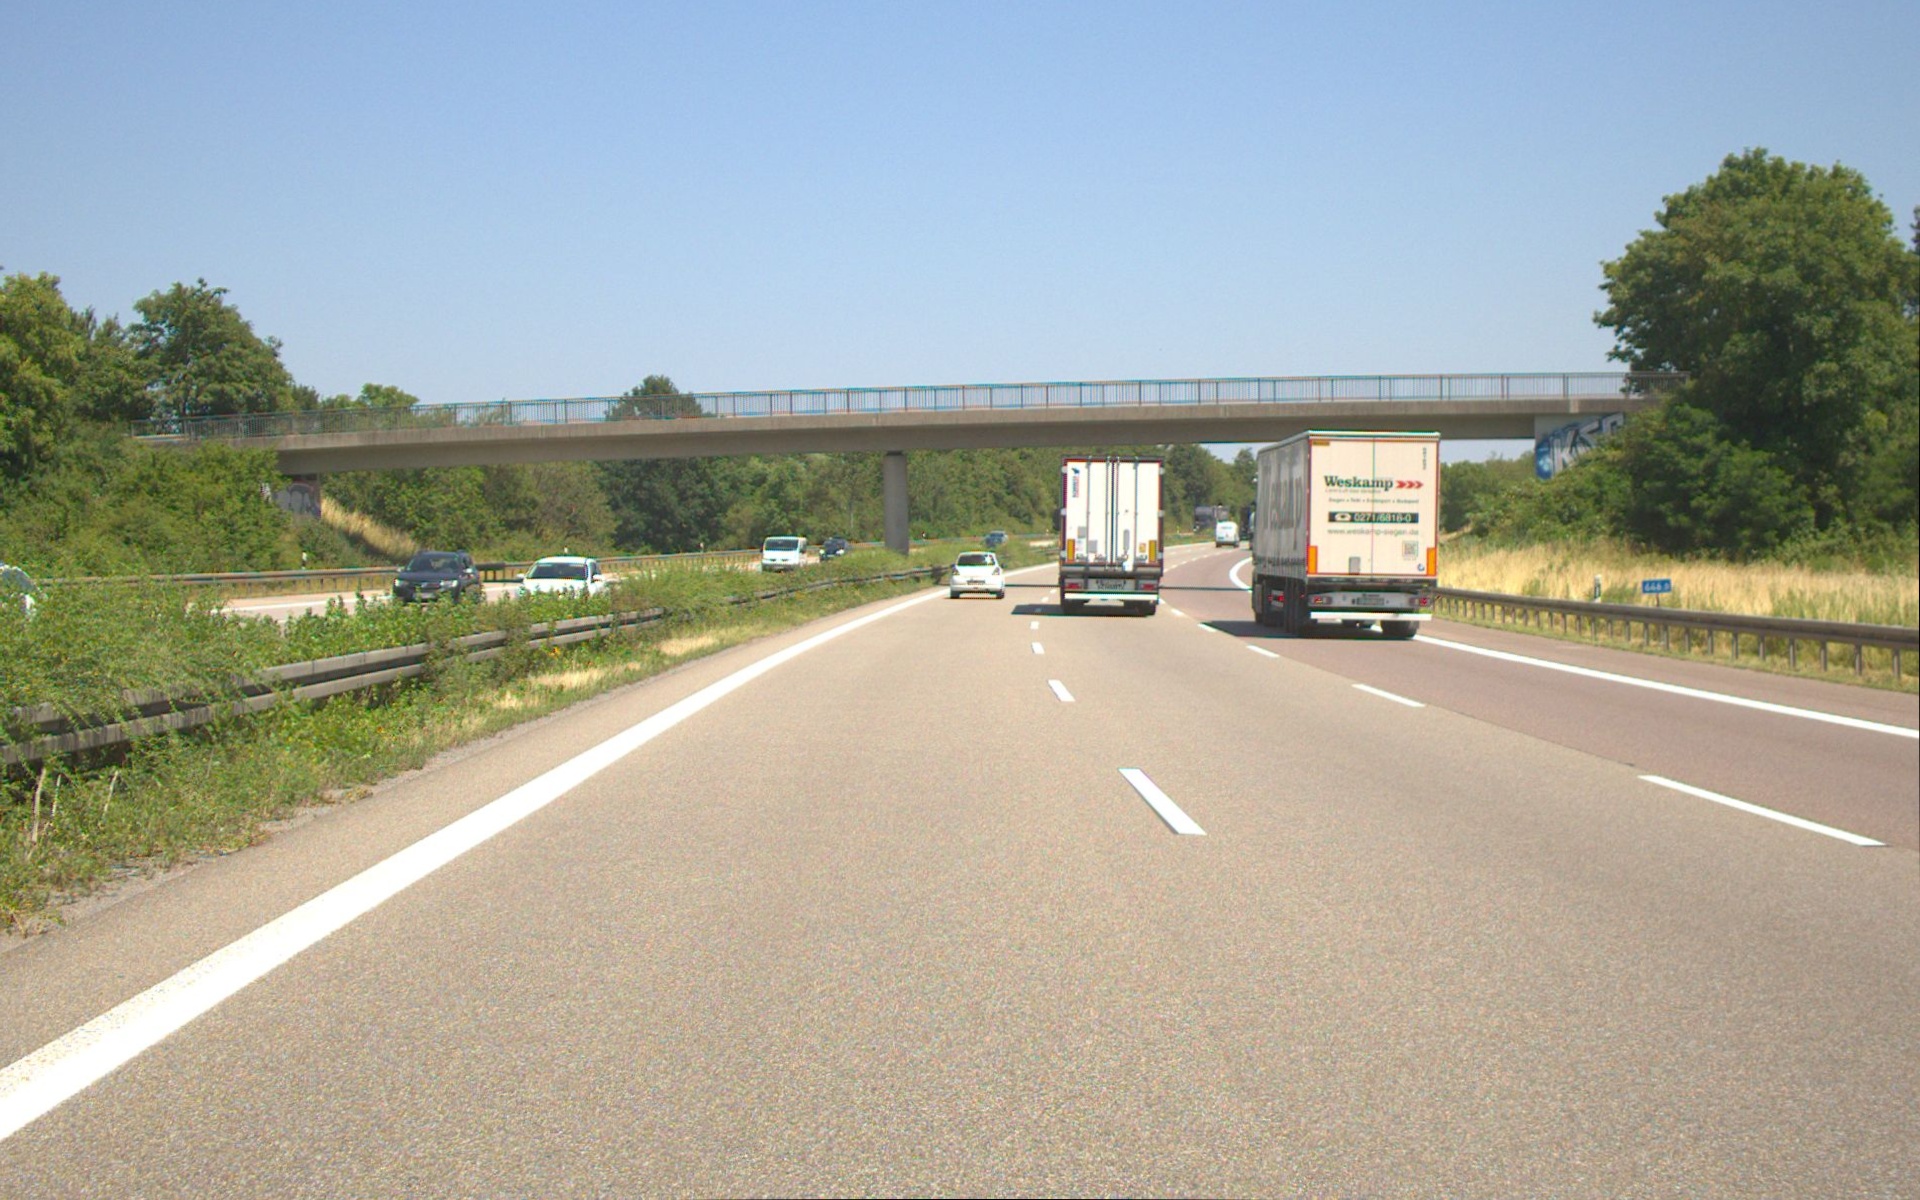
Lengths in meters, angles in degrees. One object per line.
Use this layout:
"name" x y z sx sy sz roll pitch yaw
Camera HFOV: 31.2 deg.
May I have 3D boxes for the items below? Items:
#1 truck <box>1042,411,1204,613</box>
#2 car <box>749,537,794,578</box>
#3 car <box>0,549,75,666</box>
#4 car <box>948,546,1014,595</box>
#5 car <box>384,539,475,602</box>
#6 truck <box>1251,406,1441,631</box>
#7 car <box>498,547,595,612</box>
"truck" 4.248 -2.407 93.553 3.666 5.001 16.018 1 2 0
"car" -9.520 -2.164 173.996 1.828 2.007 5.330 1 1 2
"car" -13.925 0.071 48.888 1.701 1.555 4.379 0 1 -2
"car" 0.700 -0.973 112.264 1.828 1.542 4.318 1 1 5
"car" -13.467 -0.737 87.430 1.645 1.555 4.066 0 0 1
"truck" 8.073 -1.773 73.895 3.181 4.289 16.016 1 2 3
"car" -9.697 -0.483 80.816 1.684 1.484 4.729 0 0 0
